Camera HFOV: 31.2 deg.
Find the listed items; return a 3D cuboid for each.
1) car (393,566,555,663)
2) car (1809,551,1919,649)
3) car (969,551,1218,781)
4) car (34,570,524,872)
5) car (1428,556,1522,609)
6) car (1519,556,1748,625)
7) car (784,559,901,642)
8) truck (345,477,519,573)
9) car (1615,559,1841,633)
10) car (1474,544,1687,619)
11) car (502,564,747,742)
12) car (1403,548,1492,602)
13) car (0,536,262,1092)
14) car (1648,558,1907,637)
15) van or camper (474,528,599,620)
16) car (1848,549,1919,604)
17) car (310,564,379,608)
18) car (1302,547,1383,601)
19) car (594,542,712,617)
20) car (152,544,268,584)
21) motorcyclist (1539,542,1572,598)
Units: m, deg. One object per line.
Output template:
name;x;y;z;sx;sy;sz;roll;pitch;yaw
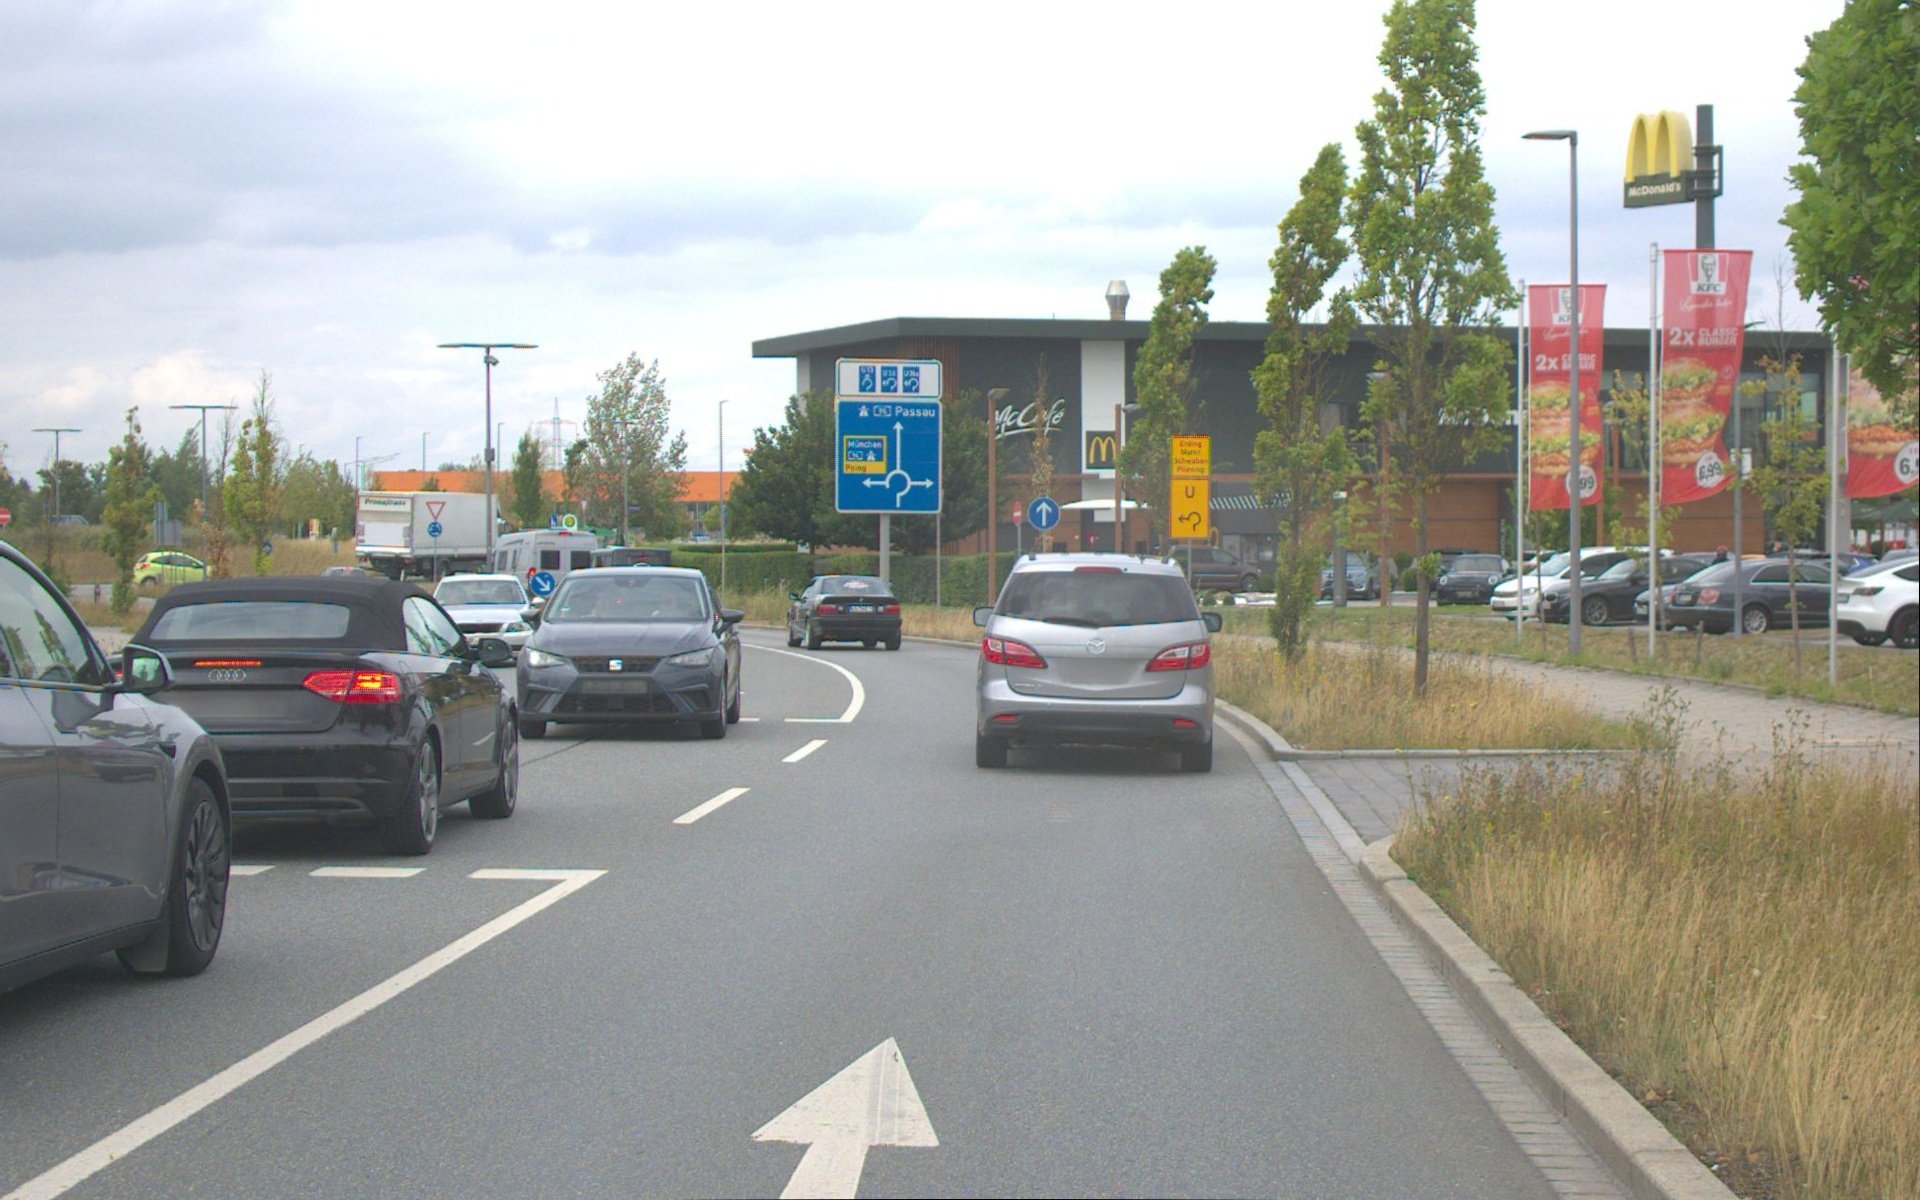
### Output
car;-7.551;0.196;53.791;1.836;1.412;4.500;-1;1;0
car;17.549;-0.048;60.535;4.560;1.639;2.089;-2;1;-9
car;1.009;0.444;26.257;1.730;1.594;3.807;1;1;2
car;-3.506;0.567;18.458;1.769;1.433;4.231;0;0;0
car;13.347;-0.476;88.924;1.813;1.308;3.846;0;1;18
car;14.721;-0.219;75.244;4.466;1.431;2.074;-1;1;-17
car;-2.161;-0.011;62.226;1.844;1.413;4.225;0;1;-5
truck;-22.058;-3.111;144.180;3.136;3.893;9.326;0;1;20
car;15.717;-0.095;70.388;4.082;1.433;1.943;-1;1;-16
car;14.017;-0.443;77.665;4.346;1.634;1.938;-1;1;-20
car;-2.839;0.405;29.886;1.829;1.415;4.246;0;1;-2
car;16.130;-0.827;113.575;2.118;1.711;4.226;1;1;20
car;-3.671;0.588;10.574;1.993;1.556;4.613;0;1;2
car;16.010;-0.062;67.423;4.516;1.464;2.033;0;1;-14
van or camper;-11.873;-0.738;96.081;2.302;2.497;5.207;0;1;-21
car;29.474;-0.724;104.313;4.722;1.651;1.998;0;1;20
car;-22.010;-0.514;122.832;1.993;1.510;4.001;0;1;-16
car;12.459;-0.854;111.796;1.995;1.711;3.997;1;1;16
car;-7.745;-0.518;86.292;2.057;1.819;4.787;0;1;-16
car;-28.885;-1.396;132.387;3.986;1.510;2.000;0;1;-26
motorcyclist;19.687;-1.003;113.677;0.962;1.826;0.844;1;1;17
